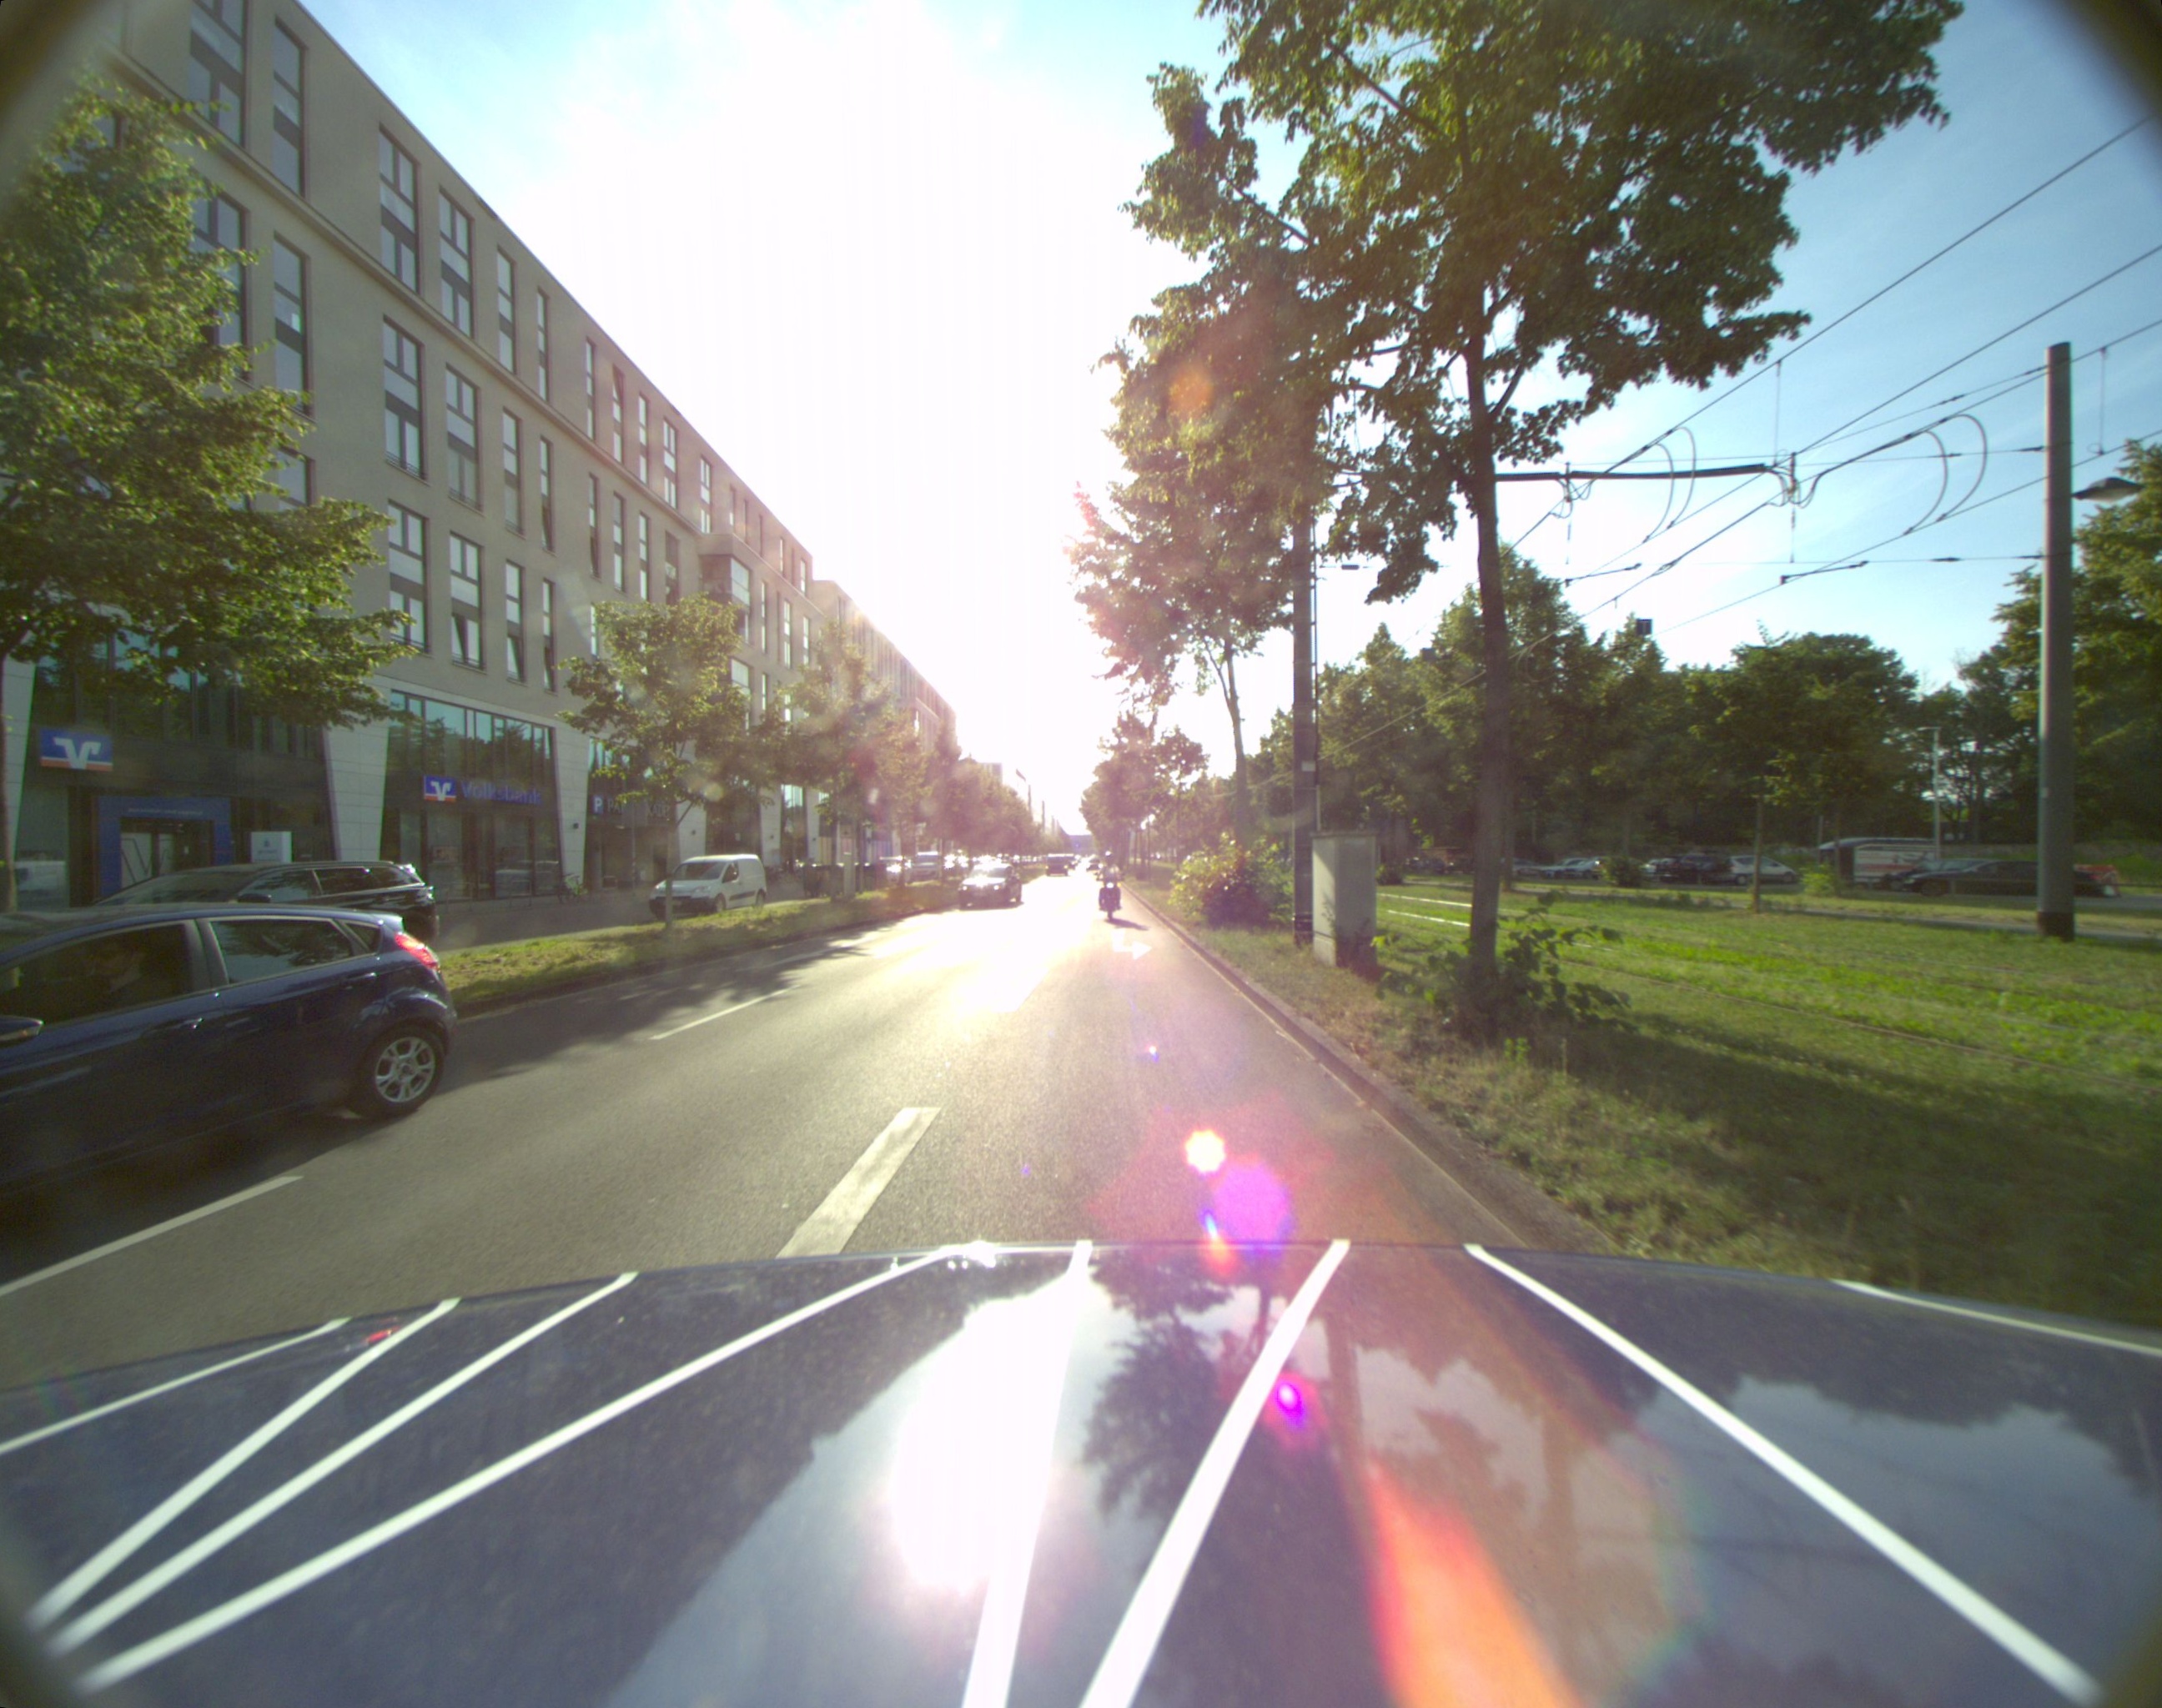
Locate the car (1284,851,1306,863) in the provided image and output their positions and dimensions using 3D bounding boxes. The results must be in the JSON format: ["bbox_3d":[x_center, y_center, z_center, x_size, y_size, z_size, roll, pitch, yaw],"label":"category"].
[{"bbox_3d":[28.950,0.392,103.027,1.835,1.423,4.474,-2,1,2],"label":"car"}]

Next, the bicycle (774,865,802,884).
[{"bbox_3d":[-17.924,1.270,46.489,0.347,1.068,1.516,-1,1,42],"label":"bicycle"}]

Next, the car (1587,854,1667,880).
[{"bbox_3d":[36.984,0.860,51.523,3.996,1.551,1.856,-2,1,3],"label":"car"}]

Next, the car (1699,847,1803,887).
[{"bbox_3d":[36.089,0.688,41.002,4.002,1.936,1.757,-2,1,1],"label":"car"}]

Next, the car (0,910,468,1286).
[{"bbox_3d":[-5.318,1.134,3.507,1.563,1.416,3.909,-2,0,4],"label":"car"}]

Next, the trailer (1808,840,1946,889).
[{"bbox_3d":[36.832,0.472,35.255,4.374,2.042,1.758,-2,1,4],"label":"trailer"}]

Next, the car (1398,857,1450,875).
[{"bbox_3d":[30.835,1.063,68.417,1.689,1.427,4.027,-3,1,-26],"label":"car"}]

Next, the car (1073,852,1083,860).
[{"bbox_3d":[-0.621,0.462,159.460,1.840,1.521,4.328,-2,1,1],"label":"car"}]

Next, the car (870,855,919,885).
[{"bbox_3d":[-10.642,0.888,43.738,1.735,1.620,4.849,0,0,-2],"label":"car"}]

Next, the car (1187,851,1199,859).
[{"bbox_3d":[22.915,0.190,155.837,1.686,1.467,4.813,2,1,1],"label":"car"}]

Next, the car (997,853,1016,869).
[{"bbox_3d":[-9.745,0.925,100.084,1.899,1.863,4.844,-2,1,0],"label":"car"}]

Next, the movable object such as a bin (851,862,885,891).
[{"bbox_3d":[-10.281,1.086,36.709,1.281,1.294,1.191,-2,1,-2],"label":"movable object such as a bin"}]

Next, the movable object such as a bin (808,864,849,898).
[{"bbox_3d":[-10.431,1.113,31.449,1.281,1.284,1.178,-2,1,-2],"label":"movable object such as a bin"}]

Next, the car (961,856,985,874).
[{"bbox_3d":[-9.474,0.931,66.935,1.620,1.404,4.166,-2,1,-2],"label":"car"}]

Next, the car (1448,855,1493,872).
[{"bbox_3d":[37.100,0.852,72.462,1.791,1.434,4.359,-2,1,-5],"label":"car"}]

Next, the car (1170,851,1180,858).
[{"bbox_3d":[19.184,0.034,155.889,1.587,1.385,3.696,-2,1,1],"label":"car"}]

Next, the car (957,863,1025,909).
[{"bbox_3d":[-3.250,1.136,28.243,1.698,1.416,4.040,-2,1,5],"label":"car"}]

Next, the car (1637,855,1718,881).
[{"bbox_3d":[36.760,0.835,46.860,3.576,1.417,1.726,-2,1,1],"label":"car"}]

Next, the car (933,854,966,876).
[{"bbox_3d":[-10.481,0.840,60.861,1.732,1.641,4.339,-2,1,2],"label":"car"}]

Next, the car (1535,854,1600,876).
[{"bbox_3d":[36.192,0.805,56.561,3.655,1.420,1.810,-2,1,3],"label":"car"}]

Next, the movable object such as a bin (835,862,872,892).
[{"bbox_3d":[-10.176,1.032,33.994,1.281,1.229,1.191,-2,1,-2],"label":"movable object such as a bin"}]

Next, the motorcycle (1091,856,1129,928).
[{"bbox_3d":[0.717,0.900,19.479,0.798,1.659,2.634,-2,1,0],"label":"motorcycle"}]

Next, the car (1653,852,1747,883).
[{"bbox_3d":[35.888,0.772,44.133,4.002,1.633,1.757,-2,1,1],"label":"car"}]

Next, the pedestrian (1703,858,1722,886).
[{"bbox_3d":[34.291,0.966,41.281,0.523,1.472,0.568,-2,1,0],"label":"pedestrian"}]

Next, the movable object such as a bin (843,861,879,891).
[{"bbox_3d":[-10.227,1.000,35.381,1.281,1.310,1.191,-2,1,-2],"label":"movable object such as a bin"}]

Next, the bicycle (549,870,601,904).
[{"bbox_3d":[-18.074,1.162,27.189,0.493,1.110,1.945,0,1,1],"label":"bicycle"}]

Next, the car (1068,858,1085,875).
[{"bbox_3d":[-0.515,1.513,93.290,1.909,2.002,4.000,-2,1,1],"label":"car"}]

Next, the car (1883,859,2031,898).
[{"bbox_3d":[35.978,0.970,31.356,1.684,1.385,3.760,-2,1,-2],"label":"car"}]

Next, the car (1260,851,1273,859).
[{"bbox_3d":[30.585,0.179,125.039,1.586,1.269,3.961,-2,1,7],"label":"car"}]

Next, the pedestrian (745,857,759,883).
[{"bbox_3d":[-20.145,0.982,46.509,0.515,1.513,0.597,-2,1,1],"label":"pedestrian"}]

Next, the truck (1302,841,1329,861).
[{"bbox_3d":[41.676,-0.572,135.125,2.895,3.496,7.946,-2,1,5],"label":"truck"}]

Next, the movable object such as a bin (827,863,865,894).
[{"bbox_3d":[-10.087,1.033,32.669,1.281,1.229,1.191,-2,1,-2],"label":"movable object such as a bin"}]

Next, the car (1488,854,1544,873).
[{"bbox_3d":[37.916,0.809,66.292,3.865,1.477,1.744,-2,1,9],"label":"car"}]

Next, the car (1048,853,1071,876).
[{"bbox_3d":[-1.935,0.884,68.197,1.803,1.880,4.821,-2,1,1],"label":"car"}]

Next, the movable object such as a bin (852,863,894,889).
[{"bbox_3d":[-10.450,1.109,38.197,1.399,1.229,1.338,-2,1,28],"label":"movable object such as a bin"}]

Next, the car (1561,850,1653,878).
[{"bbox_3d":[37.192,0.670,53.812,5.071,1.725,1.886,-2,1,3],"label":"car"}]

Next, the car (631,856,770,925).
[{"bbox_3d":[-10.951,0.965,22.265,1.832,1.702,4.295,-2,1,0],"label":"car"}]

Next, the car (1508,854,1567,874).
[{"bbox_3d":[38.234,0.836,63.675,3.865,1.477,1.744,-2,1,9],"label":"car"}]

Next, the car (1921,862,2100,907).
[{"bbox_3d":[33.245,1.044,27.362,1.779,1.419,3.989,-3,1,-41],"label":"car"}]

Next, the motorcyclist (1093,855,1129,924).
[{"bbox_3d":[0.759,0.892,19.531,0.814,1.699,0.843,-2,1,0],"label":"motorcyclist"}]

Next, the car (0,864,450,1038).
[{"bbox_3d":[-11.197,1.034,9.975,1.902,1.698,4.677,-2,0,-1],"label":"car"}]

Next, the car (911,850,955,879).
[{"bbox_3d":[-10.459,0.702,53.943,1.842,1.865,5.032,-2,1,3],"label":"car"}]

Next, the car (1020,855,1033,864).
[{"bbox_3d":[-9.661,0.950,134.329,1.840,1.521,4.328,-2,1,1],"label":"car"}]

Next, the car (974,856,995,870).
[{"bbox_3d":[-10.540,0.956,82.989,1.733,1.424,4.113,-2,1,0],"label":"car"}]

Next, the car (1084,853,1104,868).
[{"bbox_3d":[1.301,0.688,78.765,1.756,1.427,4.034,-2,1,-2],"label":"car"}]

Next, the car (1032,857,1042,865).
[{"bbox_3d":[-9.424,1.533,162.008,1.840,1.521,4.328,-2,1,1],"label":"car"}]

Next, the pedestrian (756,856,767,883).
[{"bbox_3d":[-19.537,0.944,46.502,0.515,1.565,0.539,-3,1,-20],"label":"pedestrian"}]
